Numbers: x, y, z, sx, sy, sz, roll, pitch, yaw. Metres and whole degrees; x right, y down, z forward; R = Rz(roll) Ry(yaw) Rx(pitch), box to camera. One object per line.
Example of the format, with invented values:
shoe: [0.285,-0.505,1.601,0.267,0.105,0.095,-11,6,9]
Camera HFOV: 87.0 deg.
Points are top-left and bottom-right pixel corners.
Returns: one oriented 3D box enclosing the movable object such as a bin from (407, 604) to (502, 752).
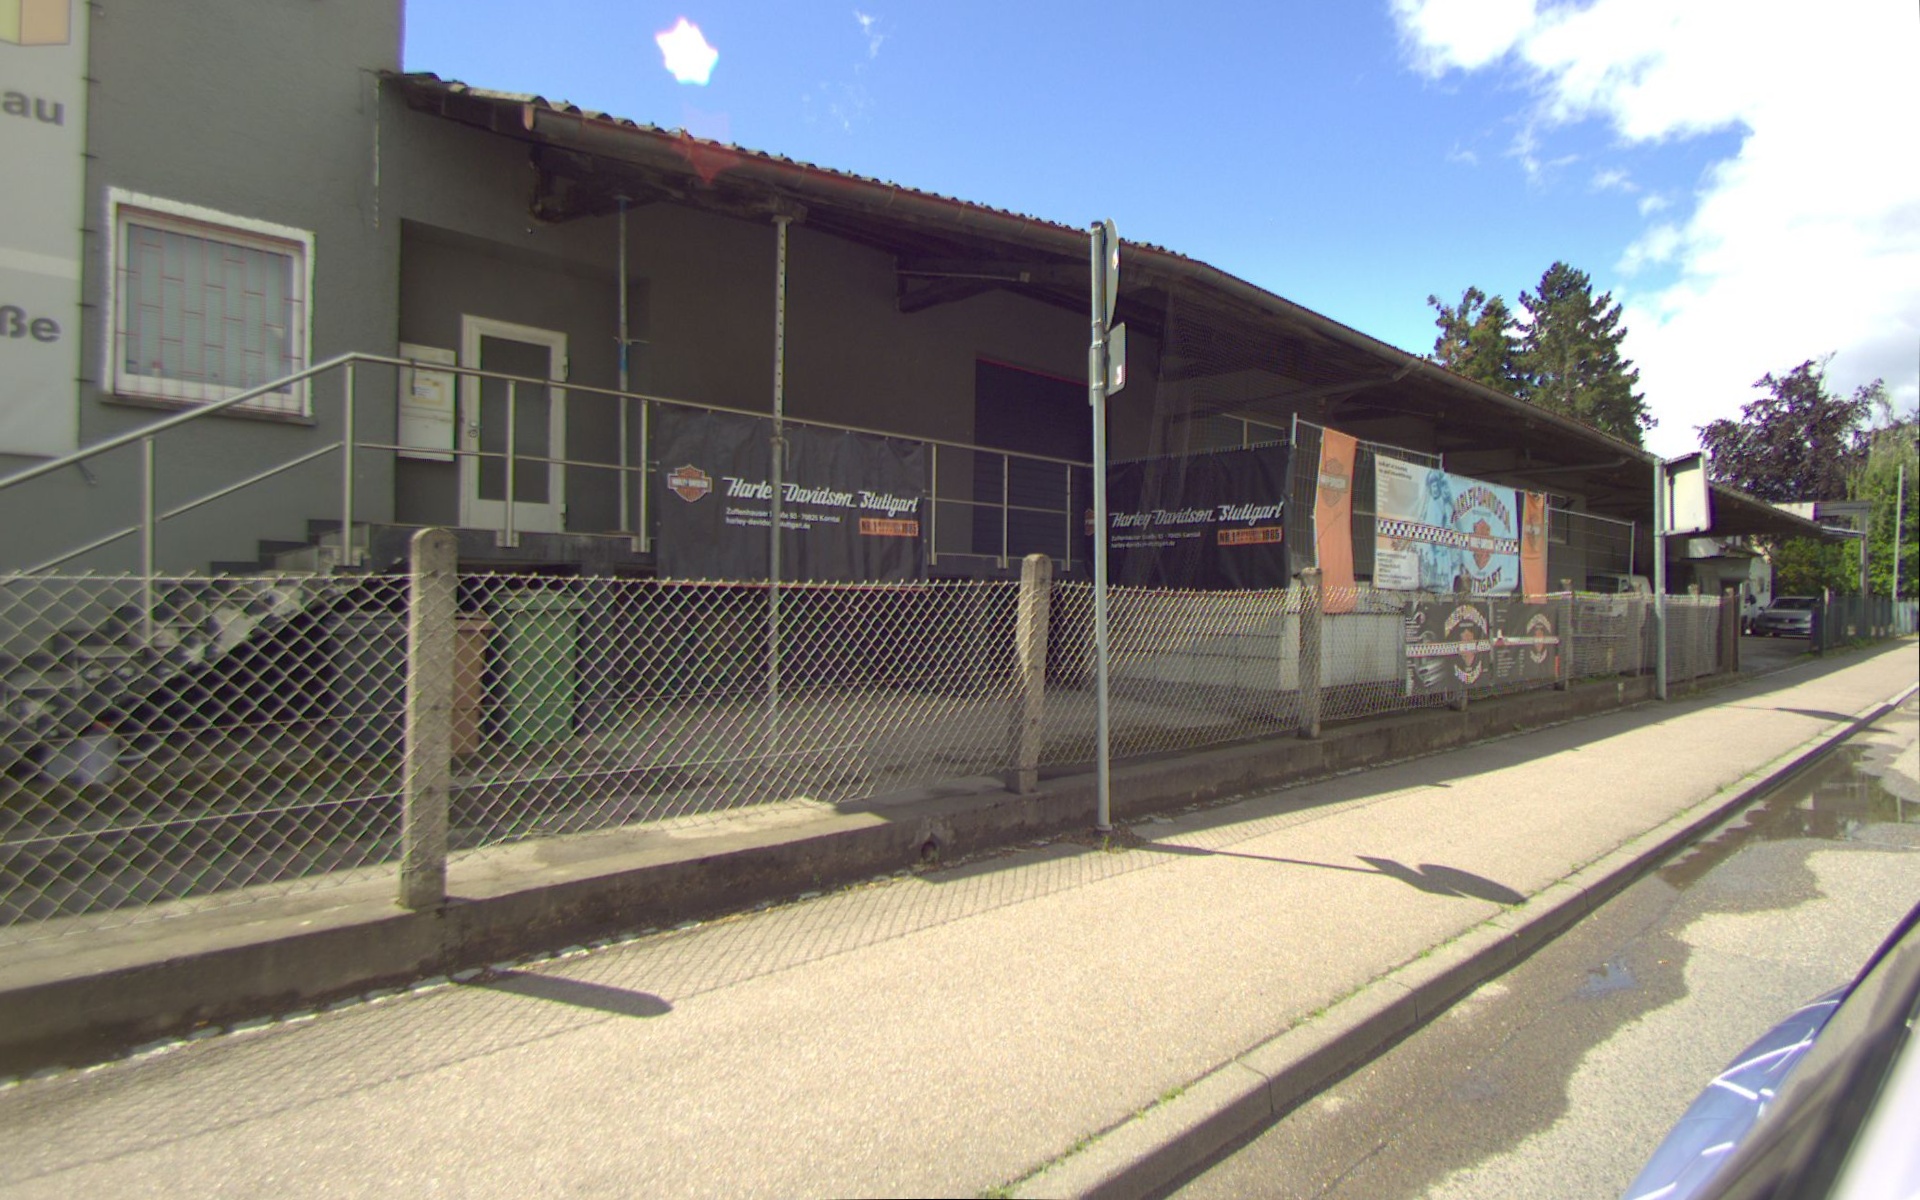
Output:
movable object such as a bin: [-3.432,0.505,6.866,0.466,0.942,0.482,0,0,-42]

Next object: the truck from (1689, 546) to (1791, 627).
truck: [29.522,-0.510,38.234,5.112,2.864,2.089,-1,0,-41]

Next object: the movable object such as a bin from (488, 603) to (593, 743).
movable object such as a bin: [-3.007,0.499,7.257,0.574,0.942,0.482,0,0,-42]

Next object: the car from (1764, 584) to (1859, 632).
car: [29.869,0.229,35.445,5.114,1.549,1.860,-1,1,-42]

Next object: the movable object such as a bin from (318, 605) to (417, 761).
movable object such as a bin: [-3.815,0.510,6.515,0.466,0.942,0.482,0,0,-42]
